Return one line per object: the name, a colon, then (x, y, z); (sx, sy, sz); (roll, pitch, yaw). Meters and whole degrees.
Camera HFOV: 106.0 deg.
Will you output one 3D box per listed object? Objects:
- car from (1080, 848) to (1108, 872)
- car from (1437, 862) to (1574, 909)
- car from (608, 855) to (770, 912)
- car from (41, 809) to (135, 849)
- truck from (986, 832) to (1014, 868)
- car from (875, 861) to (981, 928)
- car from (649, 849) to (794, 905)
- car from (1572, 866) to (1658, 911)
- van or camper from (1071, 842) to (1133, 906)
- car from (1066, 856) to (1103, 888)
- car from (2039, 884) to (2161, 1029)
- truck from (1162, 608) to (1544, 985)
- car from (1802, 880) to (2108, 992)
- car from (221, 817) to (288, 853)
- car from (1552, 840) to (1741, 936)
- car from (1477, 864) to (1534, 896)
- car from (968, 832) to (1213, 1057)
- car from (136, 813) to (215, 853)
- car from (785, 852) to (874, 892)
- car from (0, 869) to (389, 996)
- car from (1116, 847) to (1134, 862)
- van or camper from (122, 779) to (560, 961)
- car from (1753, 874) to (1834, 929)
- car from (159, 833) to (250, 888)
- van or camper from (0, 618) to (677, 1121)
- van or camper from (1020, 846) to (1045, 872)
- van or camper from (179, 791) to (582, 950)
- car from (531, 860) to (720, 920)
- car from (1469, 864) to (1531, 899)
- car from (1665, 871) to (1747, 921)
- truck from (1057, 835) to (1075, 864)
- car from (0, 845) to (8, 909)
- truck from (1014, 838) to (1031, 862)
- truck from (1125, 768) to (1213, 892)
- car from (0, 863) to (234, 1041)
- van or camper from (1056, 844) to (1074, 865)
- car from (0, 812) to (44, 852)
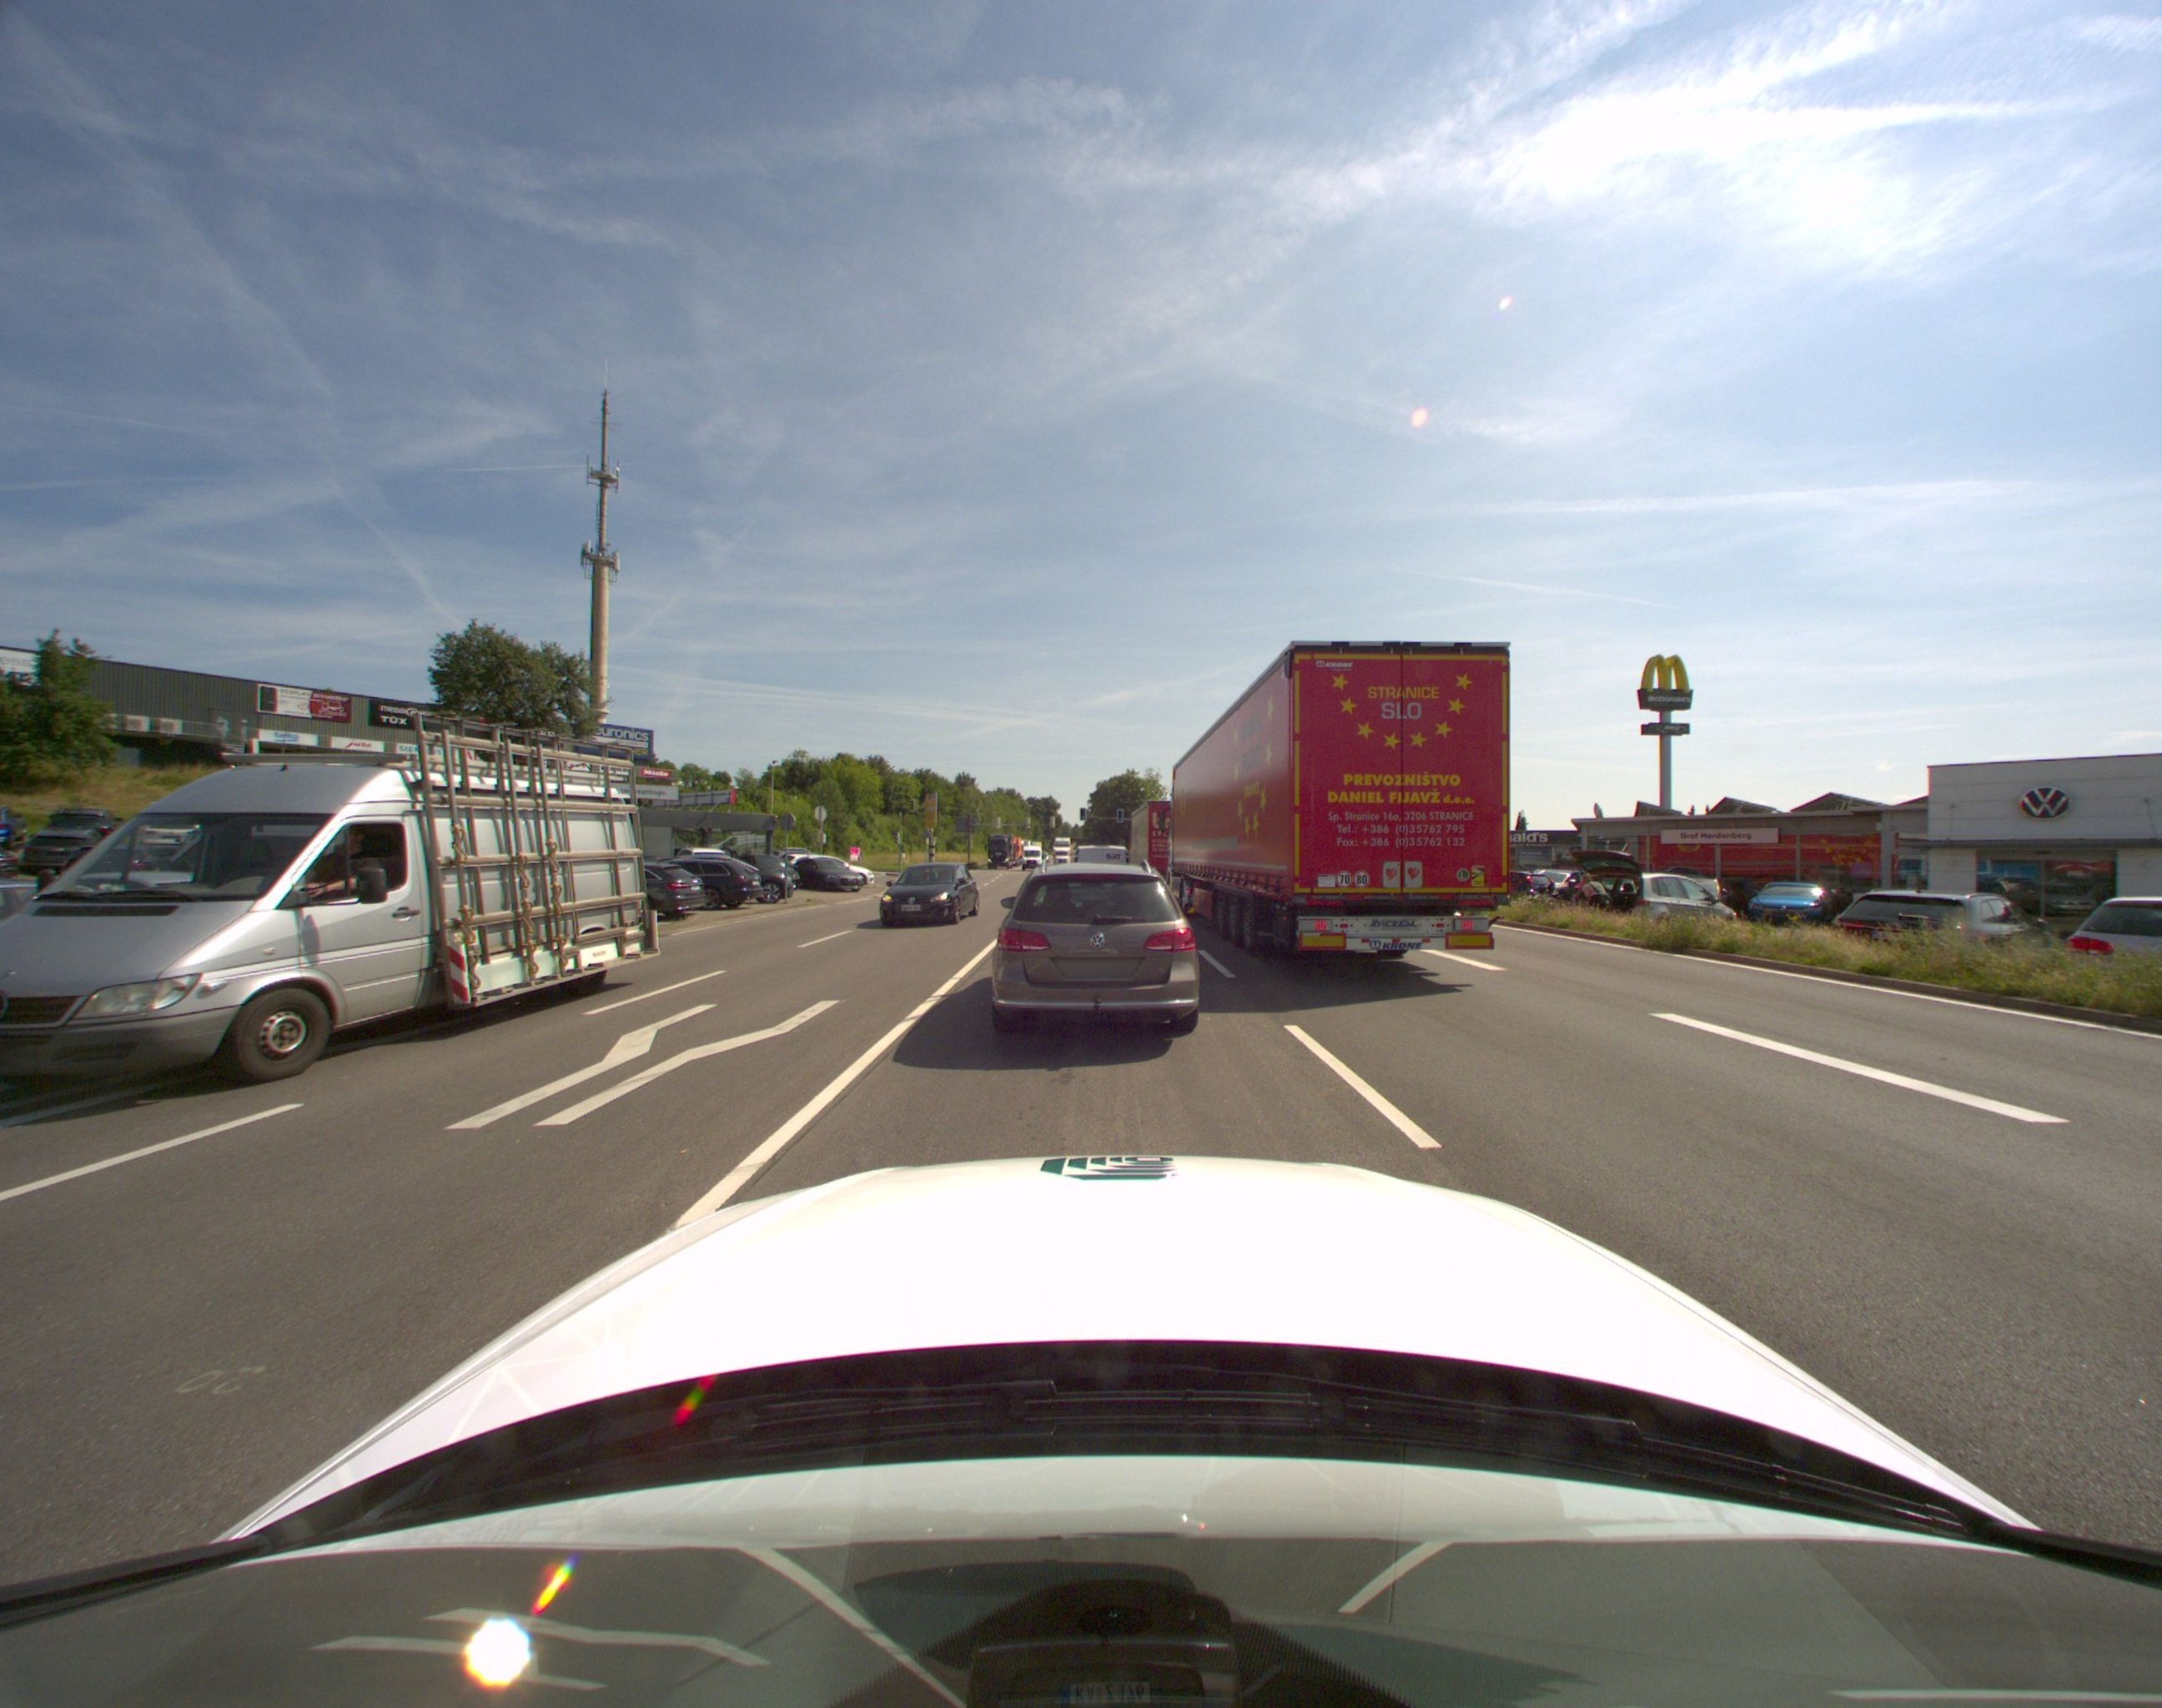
car: (0.898, 0.418, 55.350); (1.719, 1.519, 3.315); (0, -1, 3)
car: (15.273, 1.075, 29.509); (2.005, 1.531, 3.964); (0, 0, -28)
car: (-11.374, 0.829, 23.805); (3.804, 1.539, 1.842); (-1, 0, 0)
car: (-40.137, -0.969, 33.009); (1.745, 1.450, 3.705); (1, -1, -40)
truck: (-9.124, -0.428, 92.411); (2.806, 3.786, 6.982); (-2, 0, -3)
car: (-3.623, 0.914, 19.974); (1.660, 1.409, 3.928); (-2, 0, 2)
car: (-11.469, 0.722, 26.156); (3.804, 1.675, 1.842); (-1, 0, 0)
car: (20.075, 1.232, 30.537); (1.975, 1.531, 4.023); (0, 0, 44)
van or camper: (0.645, 0.610, 26.333); (1.846, 1.906, 3.784); (0, 0, 0)
car: (0.183, 0.880, 40.285); (1.721, 1.519, 3.312); (0, -1, 0)
car: (12.772, 1.084, 9.043); (3.849, 1.399, 1.690); (0, 0, -23)
truck: (3.899, -0.658, 17.516); (2.947, 4.269, 16.585); (0, 0, 1)
car: (13.064, 1.127, 12.213); (3.844, 1.399, 1.692); (0, 0, -18)
car: (-36.750, -0.794, 36.299); (1.745, 1.450, 3.705); (1, -1, -40)
car: (12.400, 0.686, 17.847); (3.851, 1.921, 1.689); (0, 0, -24)
car: (22.120, 1.315, 42.433); (1.666, 1.531, 3.618); (0, 0, 44)
car: (0.188, 0.681, 7.753); (1.782, 1.638, 3.507); (-1, 0, 4)
car: (-38.560, -0.855, 34.770); (1.745, 1.537, 3.705); (1, -1, -40)
car: (-11.576, 0.792, 37.360); (2.143, 1.693, 4.473); (-1, 0, -43)
car: (-11.901, 0.991, 10.977); (3.580, 1.480, 1.813); (-1, 0, 1)
car: (4.686, 0.105, 86.391); (1.721, 1.519, 3.312); (1, -1, 0)
van or camper: (-11.905, 0.249, 13.407); (5.225, 2.731, 2.211); (0, 0, 2)
car: (23.137, 1.490, 26.415); (3.808, 1.557, 1.681); (0, 0, -44)
car: (-27.317, 0.194, 25.356); (3.780, 1.588, 1.780); (-1, 0, 41)
van or camper: (-6.622, 0.111, 7.941); (2.199, 3.056, 5.905); (-1, 0, 2)
van or camper: (-4.838, 0.487, 81.814); (2.166, 2.551, 4.170); (0, 0, 0)
van or camper: (-13.420, 0.292, 15.928); (5.871, 2.873, 2.290); (0, 0, 0)
car: (-11.703, 0.898, 21.118); (3.804, 1.448, 1.842); (-1, 0, 0)
car: (19.867, 1.255, 38.562); (1.666, 1.531, 3.618); (0, 0, 44)
car: (21.819, 1.399, 28.388); (1.781, 1.531, 4.252); (0, 0, 44)
truck: (-2.326, -0.699, 128.832); (2.544, 4.307, 7.596); (-1, 0, 1)
car: (-28.871, 0.607, 19.773); (3.794, 1.588, 1.773); (-1, 0, 8)
truck: (-9.537, -0.653, 132.523); (2.527, 3.786, 6.982); (-2, 0, -3)
truck: (4.200, -1.004, 42.940); (3.052, 5.220, 17.008); (0, 0, 1)
car: (-11.494, 0.879, 8.332); (3.697, 1.484, 1.707); (3, 0, -1)
van or camper: (-2.219, 0.131, 114.092); (2.216, 2.841, 5.711); (0, -1, 1)
car: (-42.030, -0.842, 31.415); (1.745, 1.450, 3.705); (1, -1, -40)
